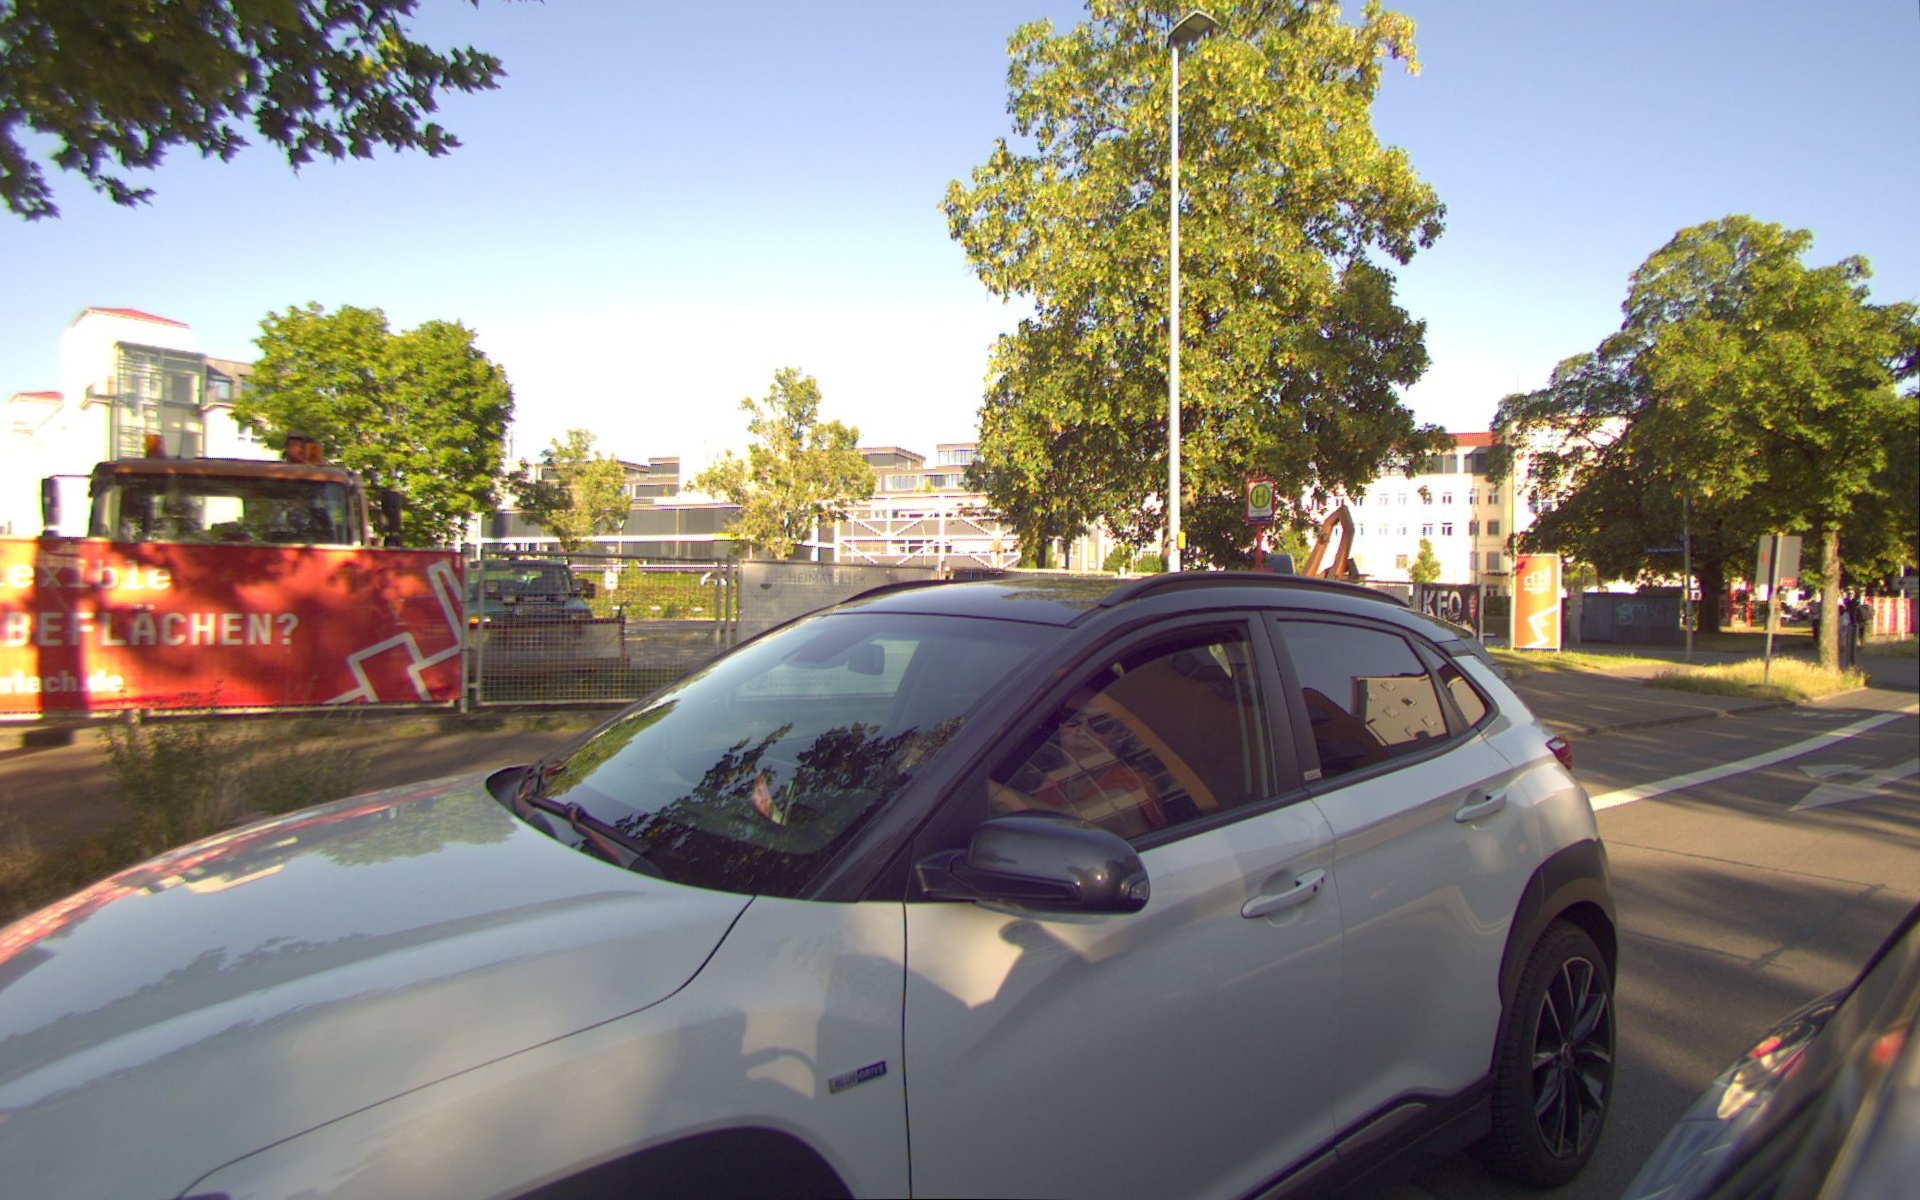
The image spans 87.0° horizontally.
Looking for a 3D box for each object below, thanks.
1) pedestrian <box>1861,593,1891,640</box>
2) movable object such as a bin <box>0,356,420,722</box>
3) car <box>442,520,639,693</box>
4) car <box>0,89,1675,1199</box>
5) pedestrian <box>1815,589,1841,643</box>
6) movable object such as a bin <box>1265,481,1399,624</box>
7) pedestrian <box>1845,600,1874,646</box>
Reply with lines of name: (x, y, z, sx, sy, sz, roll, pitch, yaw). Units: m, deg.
pedestrian: (33.407, 0.578, 36.892, 0.627, 1.689, 0.696, 0, 0, -36)
movable object such as a bin: (-8.391, -0.547, 12.054, 3.154, 3.087, 6.295, 0, 0, -31)
car: (-5.668, 0.045, 13.293, 2.001, 1.851, 4.612, 0, 0, -28)
car: (-0.019, 0.505, 2.454, 3.893, 1.618, 1.894, 3, -2, -39)
pedestrian: (28.546, 0.506, 33.275, 0.607, 1.759, 0.629, 0, 0, 44)
movable object such as a bin: (15.522, -1.879, 42.762, 3.910, 5.547, 6.022, 0, 0, 6)
pedestrian: (28.819, 0.723, 32.436, 0.627, 1.452, 0.609, 0, 0, -40)
